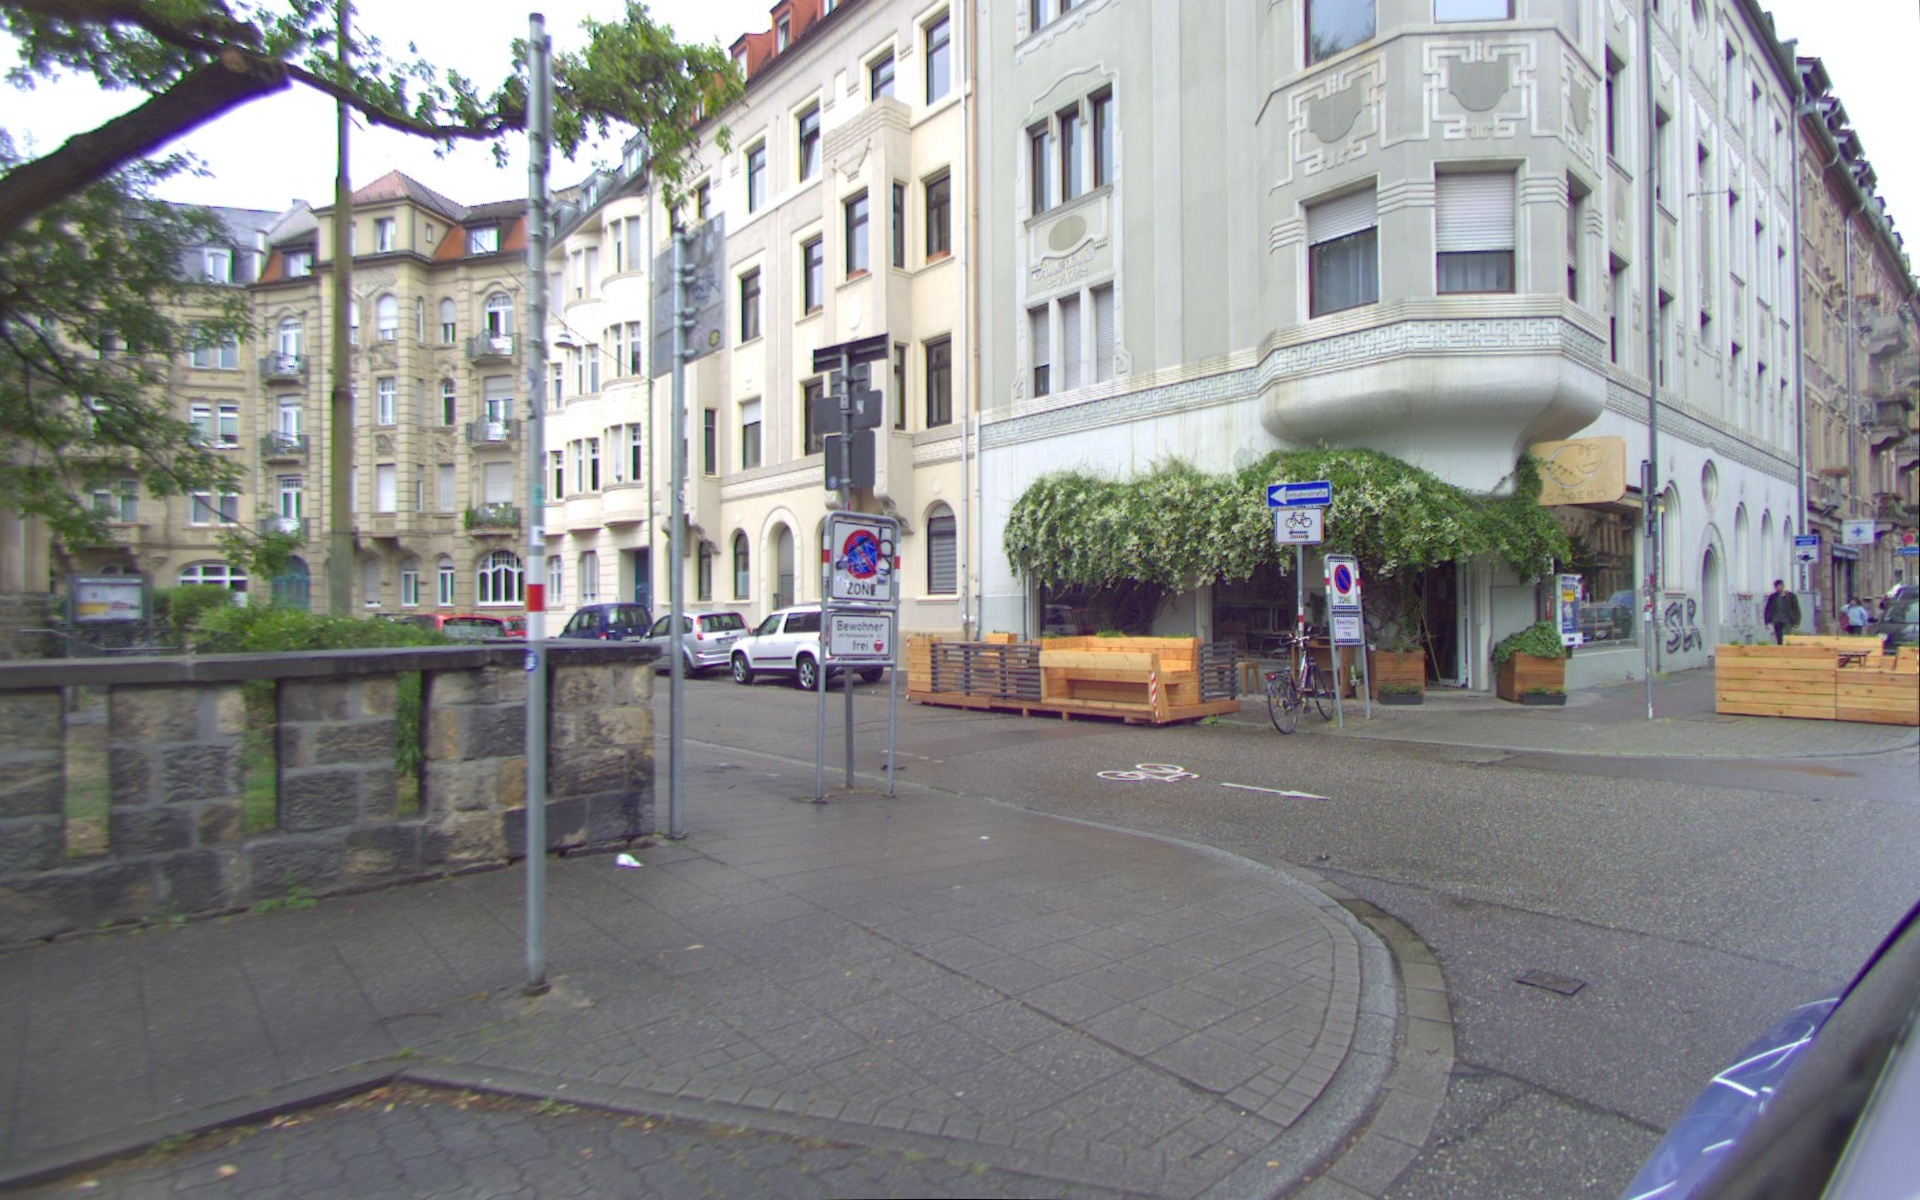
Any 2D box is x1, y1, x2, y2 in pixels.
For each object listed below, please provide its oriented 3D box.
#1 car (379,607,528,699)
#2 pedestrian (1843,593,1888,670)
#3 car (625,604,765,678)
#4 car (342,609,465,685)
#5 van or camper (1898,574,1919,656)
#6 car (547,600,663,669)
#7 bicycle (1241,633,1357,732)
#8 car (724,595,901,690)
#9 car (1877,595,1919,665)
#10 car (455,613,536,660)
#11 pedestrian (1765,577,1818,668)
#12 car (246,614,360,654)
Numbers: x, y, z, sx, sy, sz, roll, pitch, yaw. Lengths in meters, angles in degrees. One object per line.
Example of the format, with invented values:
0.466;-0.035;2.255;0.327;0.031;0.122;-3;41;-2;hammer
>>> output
-9.784;0.943;19.425;1.684;1.576;3.848;2;-2;-40;car
24.605;0.844;27.496;0.408;2.039;0.826;-2;1;-40;pedestrian
-6.690;0.963;25.290;1.784;1.608;3.846;-4;2;-42;car
-12.746;1.007;23.078;1.684;1.576;3.969;2;-2;-40;car
24.814;0.356;24.960;4.968;1.914;2.024;0;1;-42;van or camper
-10.230;0.939;29.027;1.783;1.801;3.846;-1;0;-42;car
4.196;0.976;12.452;1.888;0.991;0.452;-4;2;-42;bicycle
-3.161;0.822;21.204;1.784;1.719;3.845;-4;2;-42;car
20.868;0.614;21.503;3.641;1.418;1.712;0;1;-42;car
-16.794;1.271;36.526;1.684;1.576;3.848;2;-2;-40;car
18.383;0.486;22.375;0.408;1.975;0.826;-2;1;-40;pedestrian
-27.248;1.391;41.986;4.084;1.576;1.706;0;-1;16;car
